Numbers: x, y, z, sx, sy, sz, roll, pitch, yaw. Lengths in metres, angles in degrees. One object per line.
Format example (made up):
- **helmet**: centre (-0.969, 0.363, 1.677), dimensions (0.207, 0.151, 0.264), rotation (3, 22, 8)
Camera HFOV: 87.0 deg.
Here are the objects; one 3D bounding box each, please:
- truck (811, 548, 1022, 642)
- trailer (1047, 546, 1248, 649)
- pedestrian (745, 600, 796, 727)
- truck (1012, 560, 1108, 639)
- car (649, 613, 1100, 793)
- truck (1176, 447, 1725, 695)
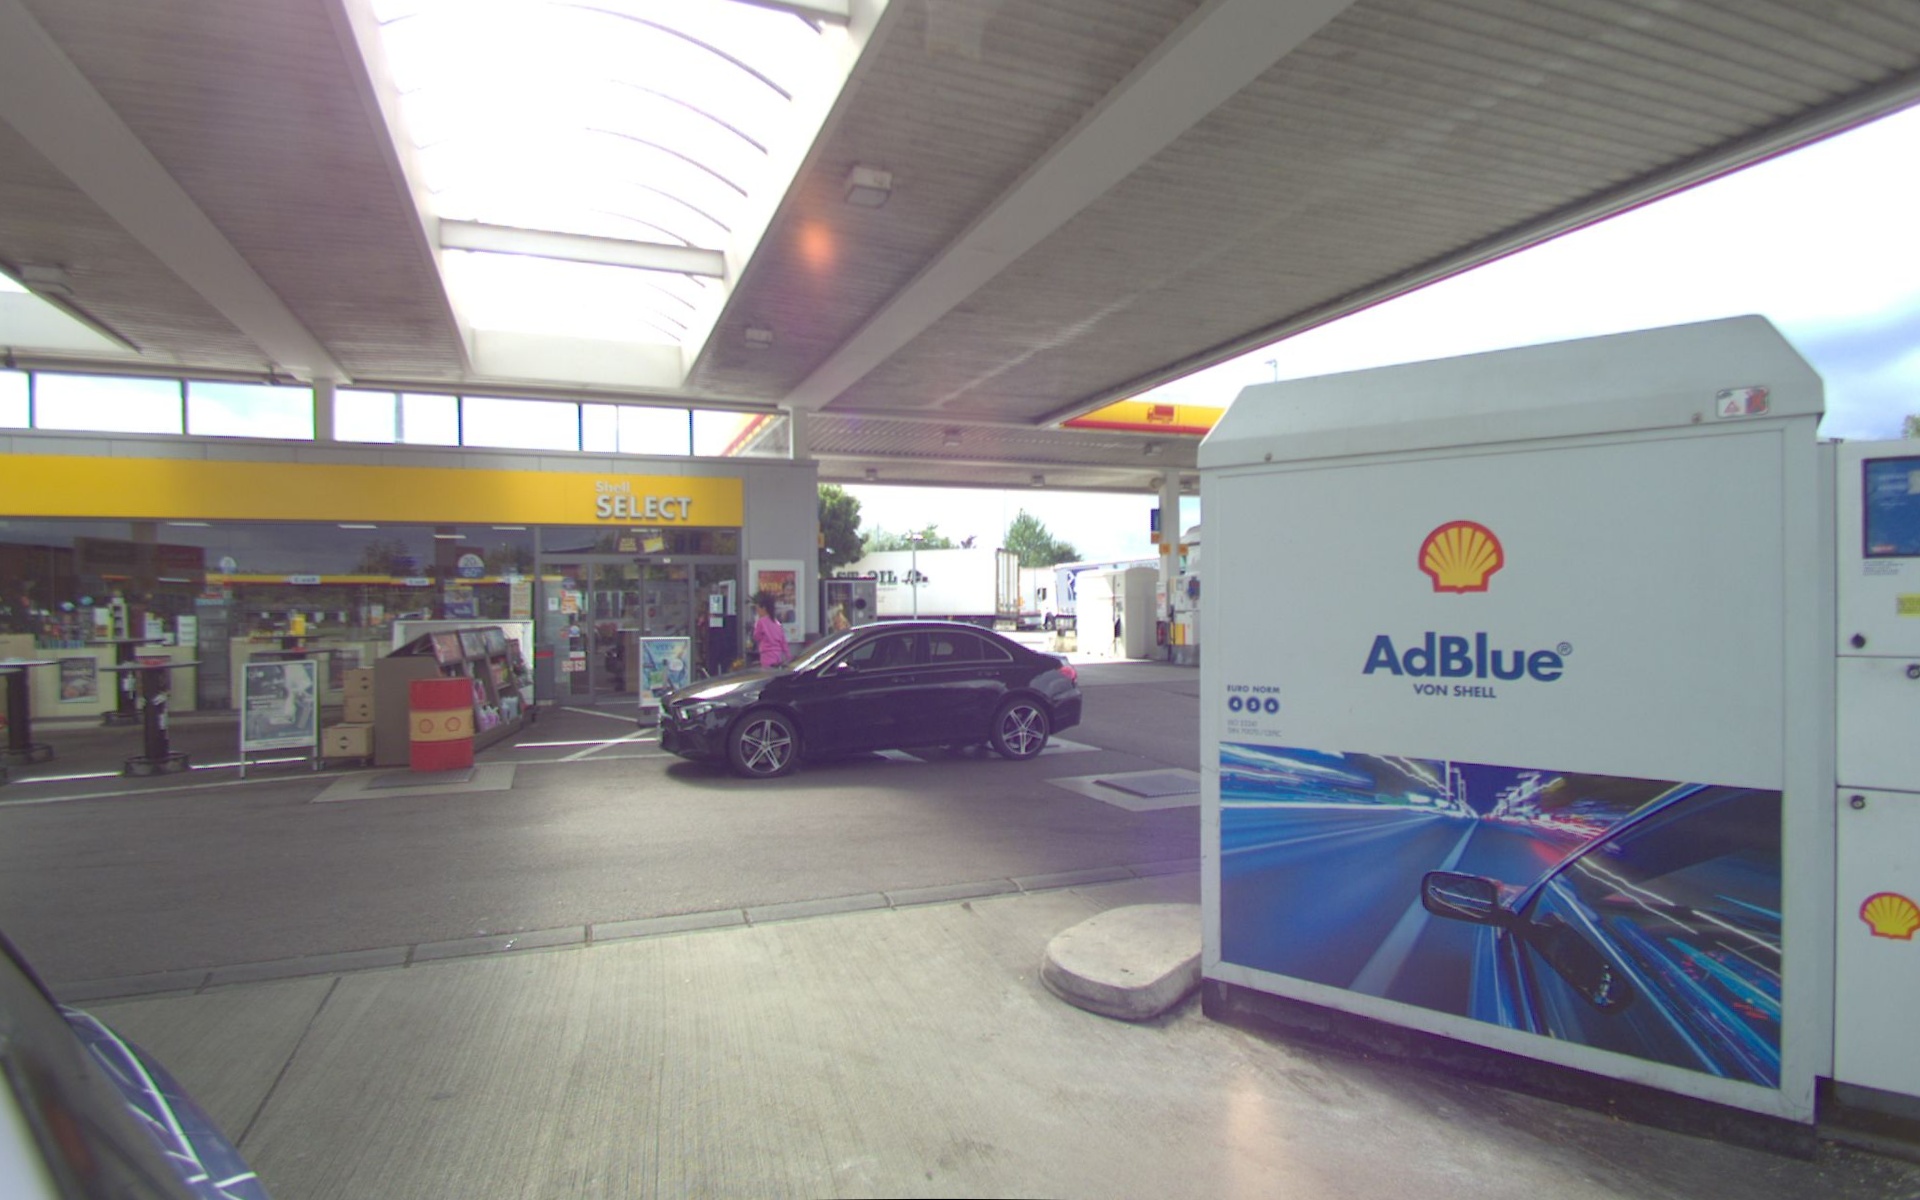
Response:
- **truck**: centre (-2.082, -0.181, 46.835), dimensions (9.536, 4.036, 2.772), rotation (-1, 0, 25)
- **trailer**: centre (9.127, -0.098, 52.667), dimensions (3.294, 4.600, 14.397), rotation (-1, 0, -20)
- **pedestrian**: centre (-2.636, 0.862, 14.129), dimensions (0.613, 1.726, 0.628), rotation (-1, 0, -4)
- **truck**: centre (5.950, -0.048, 61.216), dimensions (3.333, 4.538, 6.249), rotation (-1, 0, -20)
- **car**: centre (-0.908, 0.942, 10.672), dimensions (4.394, 1.511, 1.785), rotation (-1, 0, -21)
- **truck**: centre (9.674, -0.462, 23.096), dimensions (2.491, 4.069, 12.947), rotation (-1, 0, -22)
